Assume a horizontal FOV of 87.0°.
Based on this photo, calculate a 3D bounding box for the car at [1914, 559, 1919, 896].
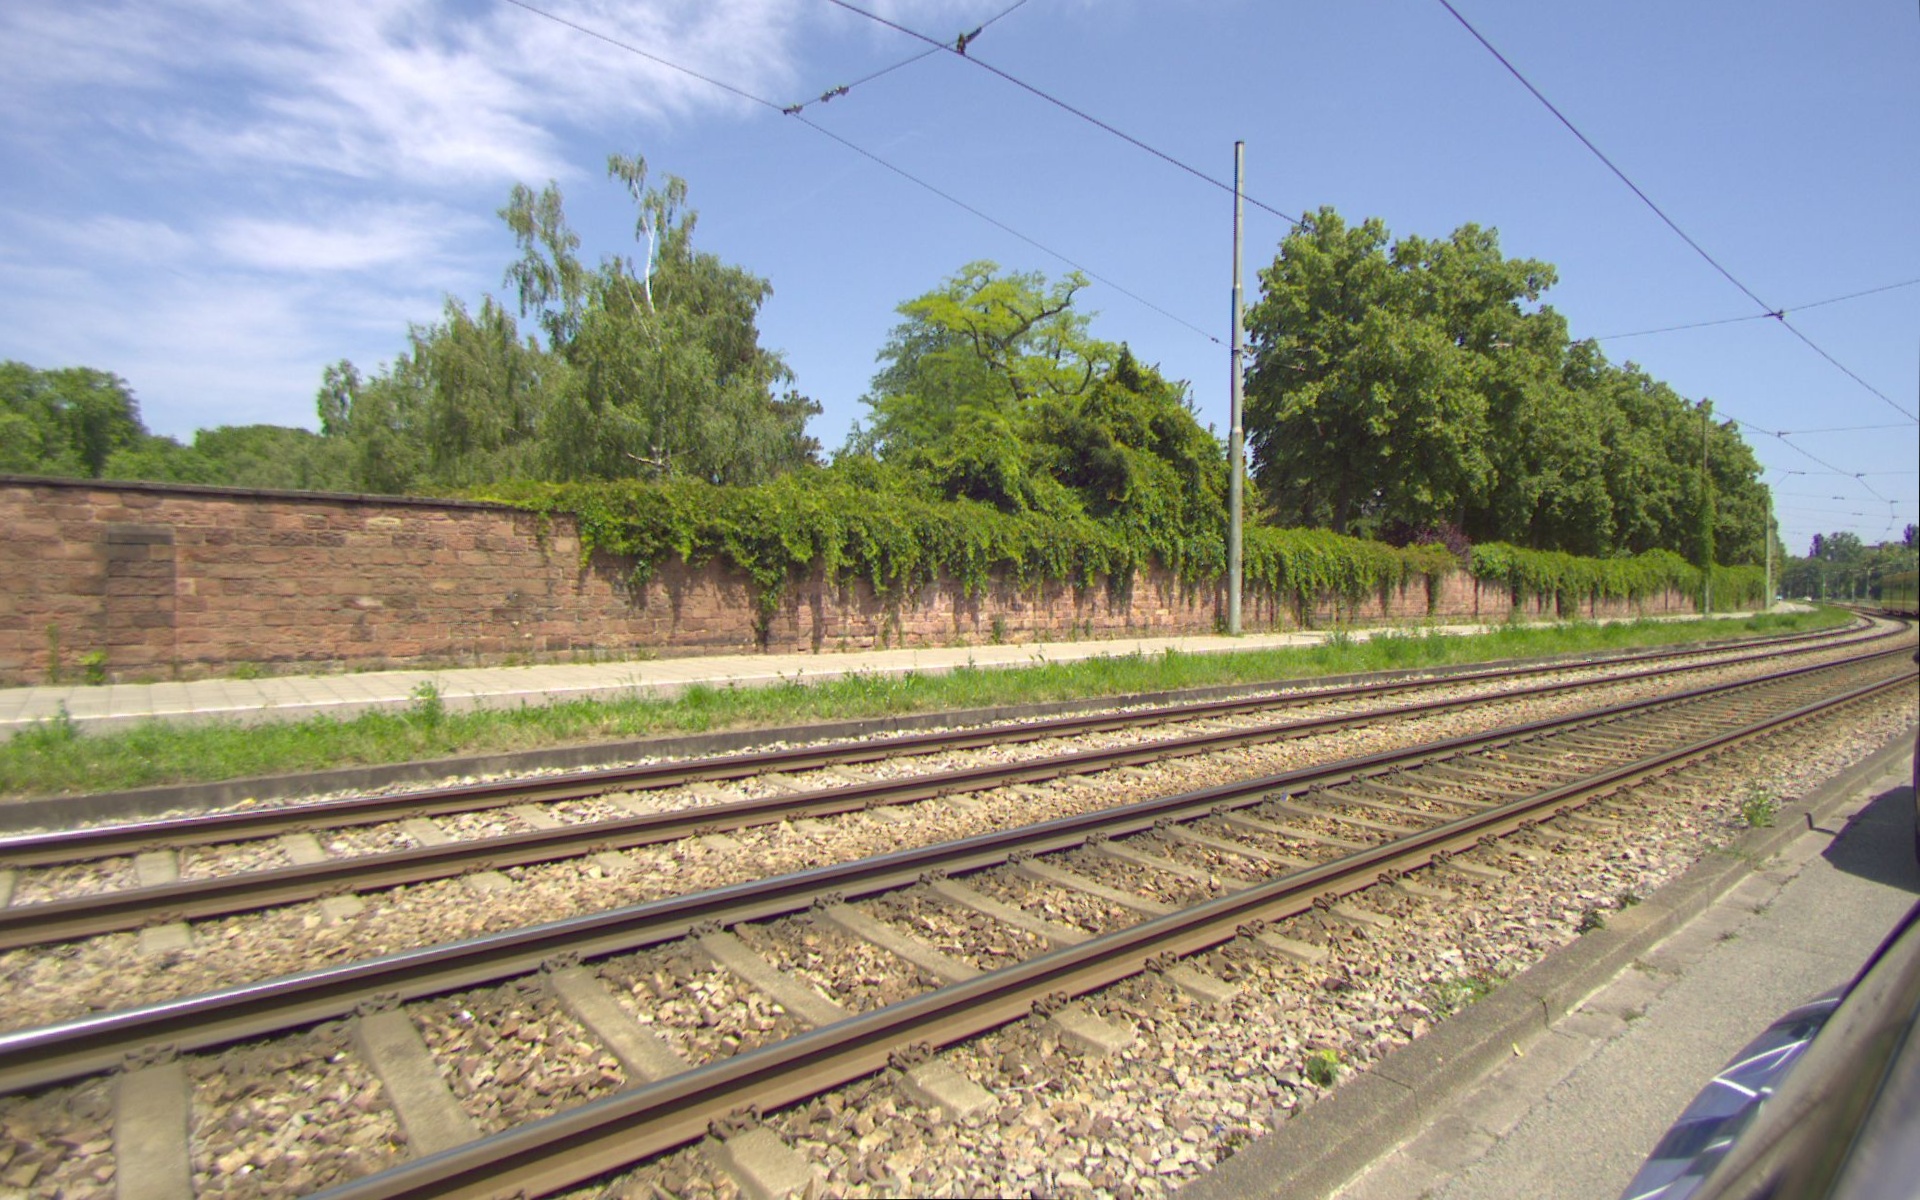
[{"bbox_3d":[6.761,0.598,5.587,4.350,1.603,1.757,0,0,-41],"label":"car"}]
